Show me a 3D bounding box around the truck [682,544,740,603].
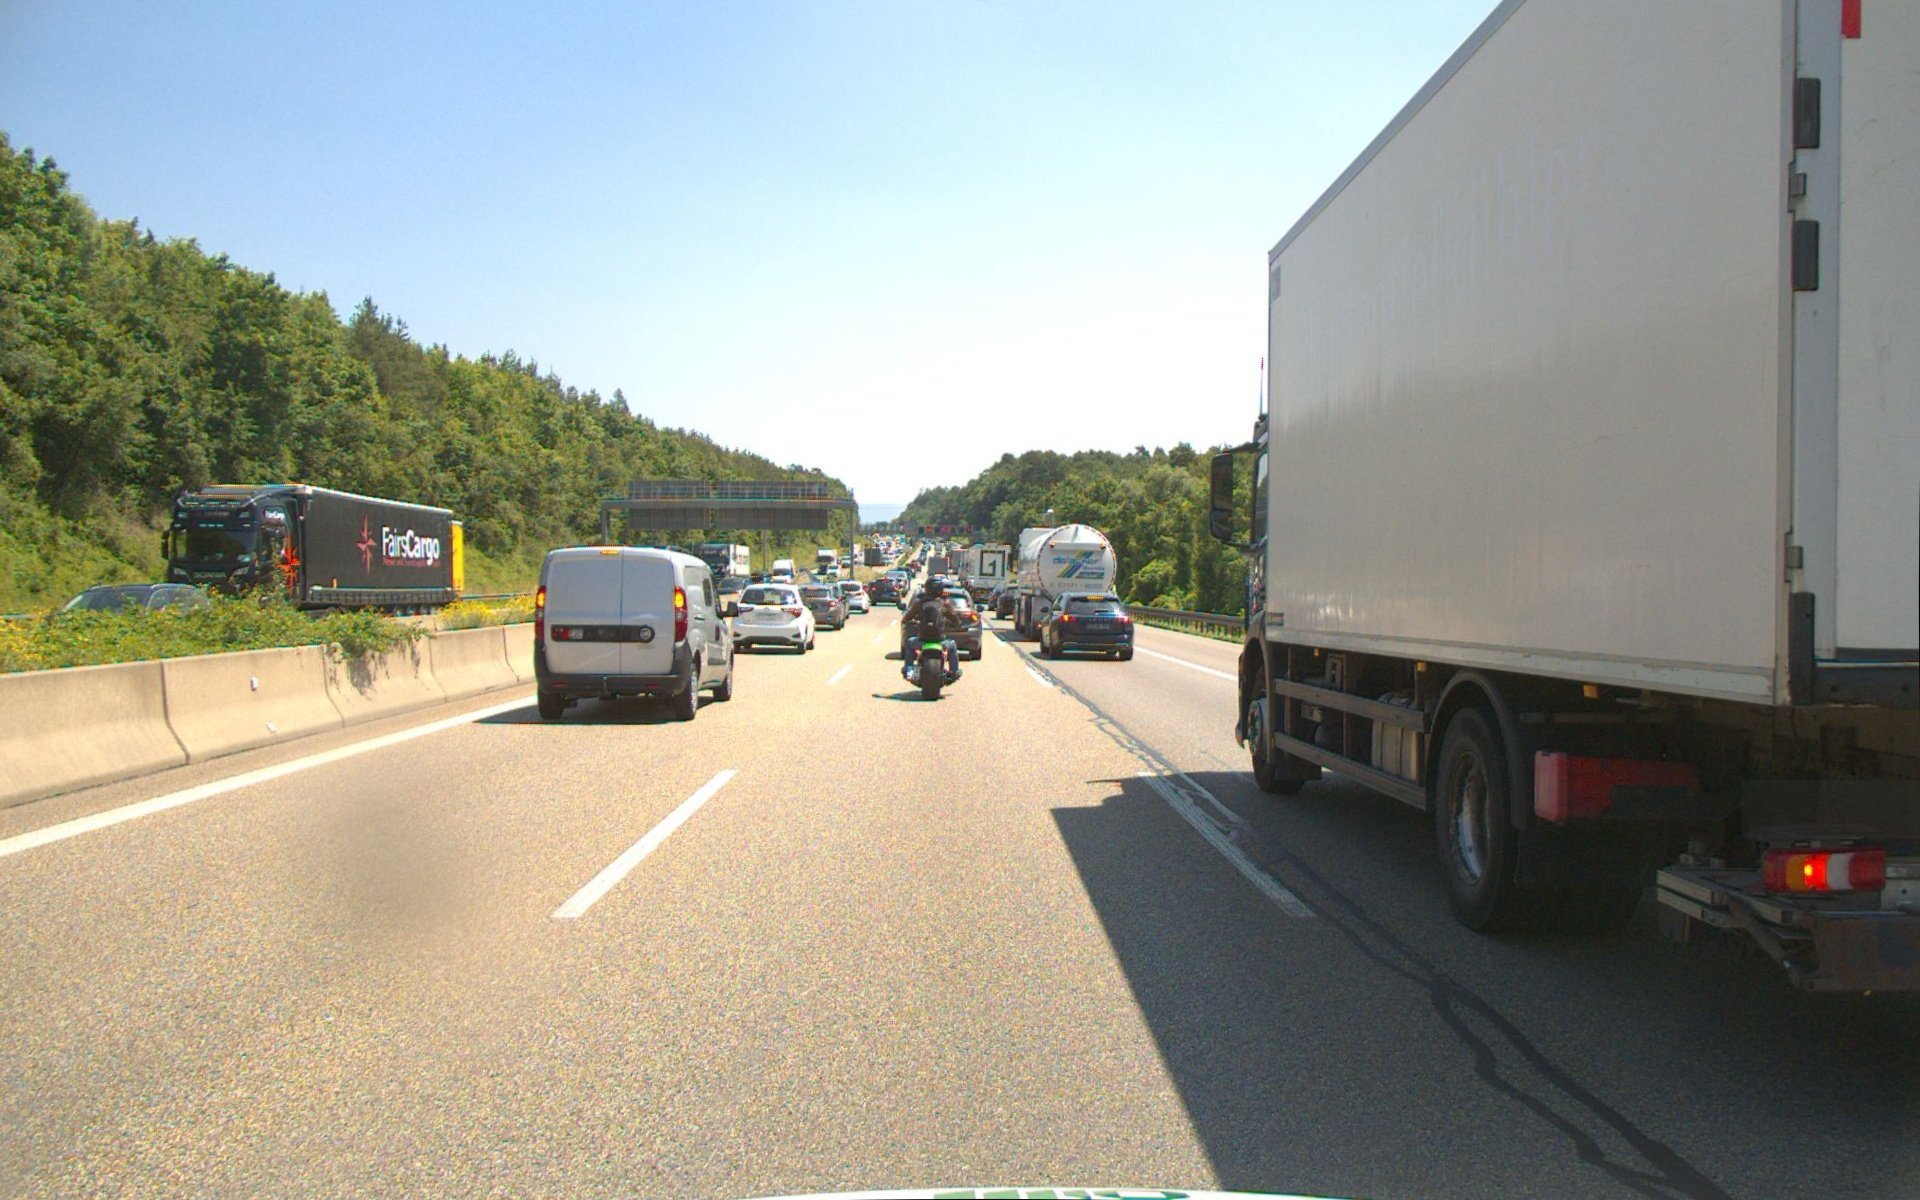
[{"bbox_3d":[-20.467,-2.109,136.426,3.649,4.607,7.324,-2,0,-1],"label":"truck"}]

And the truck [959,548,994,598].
[{"bbox_3d":[1.524,-2.578,158.713,2.971,4.621,9.981,1,0,-1],"label":"truck"}]

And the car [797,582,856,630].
[{"bbox_3d":[-4.333,0.182,54.161,1.665,1.504,3.999,0,0,-1],"label":"car"}]

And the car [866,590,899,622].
[{"bbox_3d":[-5.162,0.411,110.784,1.953,2.049,4.000,-2,0,0],"label":"car"}]

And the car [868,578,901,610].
[{"bbox_3d":[-4.584,-0.402,101.015,1.841,1.892,4.000,1,0,-1],"label":"car"}]

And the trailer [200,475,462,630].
[{"bbox_3d":[-18.791,-1.209,50.842,2.847,4.043,13.885,-2,0,-1],"label":"trailer"}]

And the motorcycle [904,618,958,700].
[{"bbox_3d":[-0.380,0.791,22.850,0.677,1.033,2.121,1,0,0],"label":"motorcycle"}]

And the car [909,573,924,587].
[{"bbox_3d":[-6.226,-2.856,236.281,1.953,2.049,4.000,1,0,-1],"label":"car"}]

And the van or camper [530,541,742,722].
[{"bbox_3d":[-3.745,0.349,19.813,1.759,1.925,4.159,1,0,-1],"label":"van or camper"}]

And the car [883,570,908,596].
[{"bbox_3d":[-5.389,-1.451,139.423,1.890,2.049,4.000,-2,0,0],"label":"car"}]

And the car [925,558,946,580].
[{"bbox_3d":[-2.923,-3.753,199.411,2.453,2.632,5.015,0,0,-1],"label":"car"}]

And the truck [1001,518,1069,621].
[{"bbox_3d":[2.735,-1.070,61.311,1.954,3.584,4.748,-2,-1,-3],"label":"truck"}]

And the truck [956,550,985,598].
[{"bbox_3d":[1.133,-2.942,188.727,2.971,5.229,9.981,1,0,-1],"label":"truck"}]

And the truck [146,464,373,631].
[{"bbox_3d":[-18.709,-1.266,44.793,2.847,4.043,7.767,-2,0,-1],"label":"truck"}]

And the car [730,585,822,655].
[{"bbox_3d":[-4.114,0.408,37.440,1.665,1.504,3.999,0,0,-1],"label":"car"}]

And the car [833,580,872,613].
[{"bbox_3d":[-5.065,-0.170,78.264,1.665,1.504,3.999,0,0,-1],"label":"car"}]

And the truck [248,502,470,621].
[{"bbox_3d":[-22.896,-1.251,64.508,2.975,4.053,16.261,-1,0,-1],"label":"truck"}]

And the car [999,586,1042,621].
[{"bbox_3d":[2.732,0.137,75.229,1.751,1.583,3.803,0,0,-1],"label":"car"}]

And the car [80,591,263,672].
[{"bbox_3d":[-14.629,0.540,30.916,1.531,1.390,3.999,-1,0,-1],"label":"car"}]

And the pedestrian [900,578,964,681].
[{"bbox_3d":[-0.380,0.398,23.038,0.832,1.385,0.961,-2,0,0],"label":"pedestrian"}]

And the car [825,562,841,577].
[{"bbox_3d":[-18.130,-4.334,236.050,1.841,2.049,4.467,-3,0,-1],"label":"car"}]

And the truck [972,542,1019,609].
[{"bbox_3d":[2.491,-1.766,120.022,2.971,4.621,9.981,1,0,-1],"label":"truck"}]

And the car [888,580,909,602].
[{"bbox_3d":[-6.035,-0.917,162.729,1.953,2.049,3.999,-2,0,-1],"label":"car"}]

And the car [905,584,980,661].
[{"bbox_3d":[-0.418,0.452,36.061,1.502,1.536,3.999,-2,0,-1],"label":"car"}]

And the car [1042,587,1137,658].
[{"bbox_3d":[2.890,0.468,37.634,1.791,1.496,3.999,1,0,-1],"label":"car"}]

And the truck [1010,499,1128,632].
[{"bbox_3d":[3.284,-0.958,52.386,2.927,3.735,9.285,-2,0,-1],"label":"truck"}]

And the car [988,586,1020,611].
[{"bbox_3d":[2.563,-0.112,97.259,1.751,1.398,3.803,0,0,-1],"label":"car"}]

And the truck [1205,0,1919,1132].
[{"bbox_3d":[3.511,-0.656,9.203,2.633,3.944,9.779,-2,0,0],"label":"truck"}]

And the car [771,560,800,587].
[{"bbox_3d":[-16.362,-2.466,155.427,1.953,2.418,7.363,0,0,-1],"label":"car"}]
